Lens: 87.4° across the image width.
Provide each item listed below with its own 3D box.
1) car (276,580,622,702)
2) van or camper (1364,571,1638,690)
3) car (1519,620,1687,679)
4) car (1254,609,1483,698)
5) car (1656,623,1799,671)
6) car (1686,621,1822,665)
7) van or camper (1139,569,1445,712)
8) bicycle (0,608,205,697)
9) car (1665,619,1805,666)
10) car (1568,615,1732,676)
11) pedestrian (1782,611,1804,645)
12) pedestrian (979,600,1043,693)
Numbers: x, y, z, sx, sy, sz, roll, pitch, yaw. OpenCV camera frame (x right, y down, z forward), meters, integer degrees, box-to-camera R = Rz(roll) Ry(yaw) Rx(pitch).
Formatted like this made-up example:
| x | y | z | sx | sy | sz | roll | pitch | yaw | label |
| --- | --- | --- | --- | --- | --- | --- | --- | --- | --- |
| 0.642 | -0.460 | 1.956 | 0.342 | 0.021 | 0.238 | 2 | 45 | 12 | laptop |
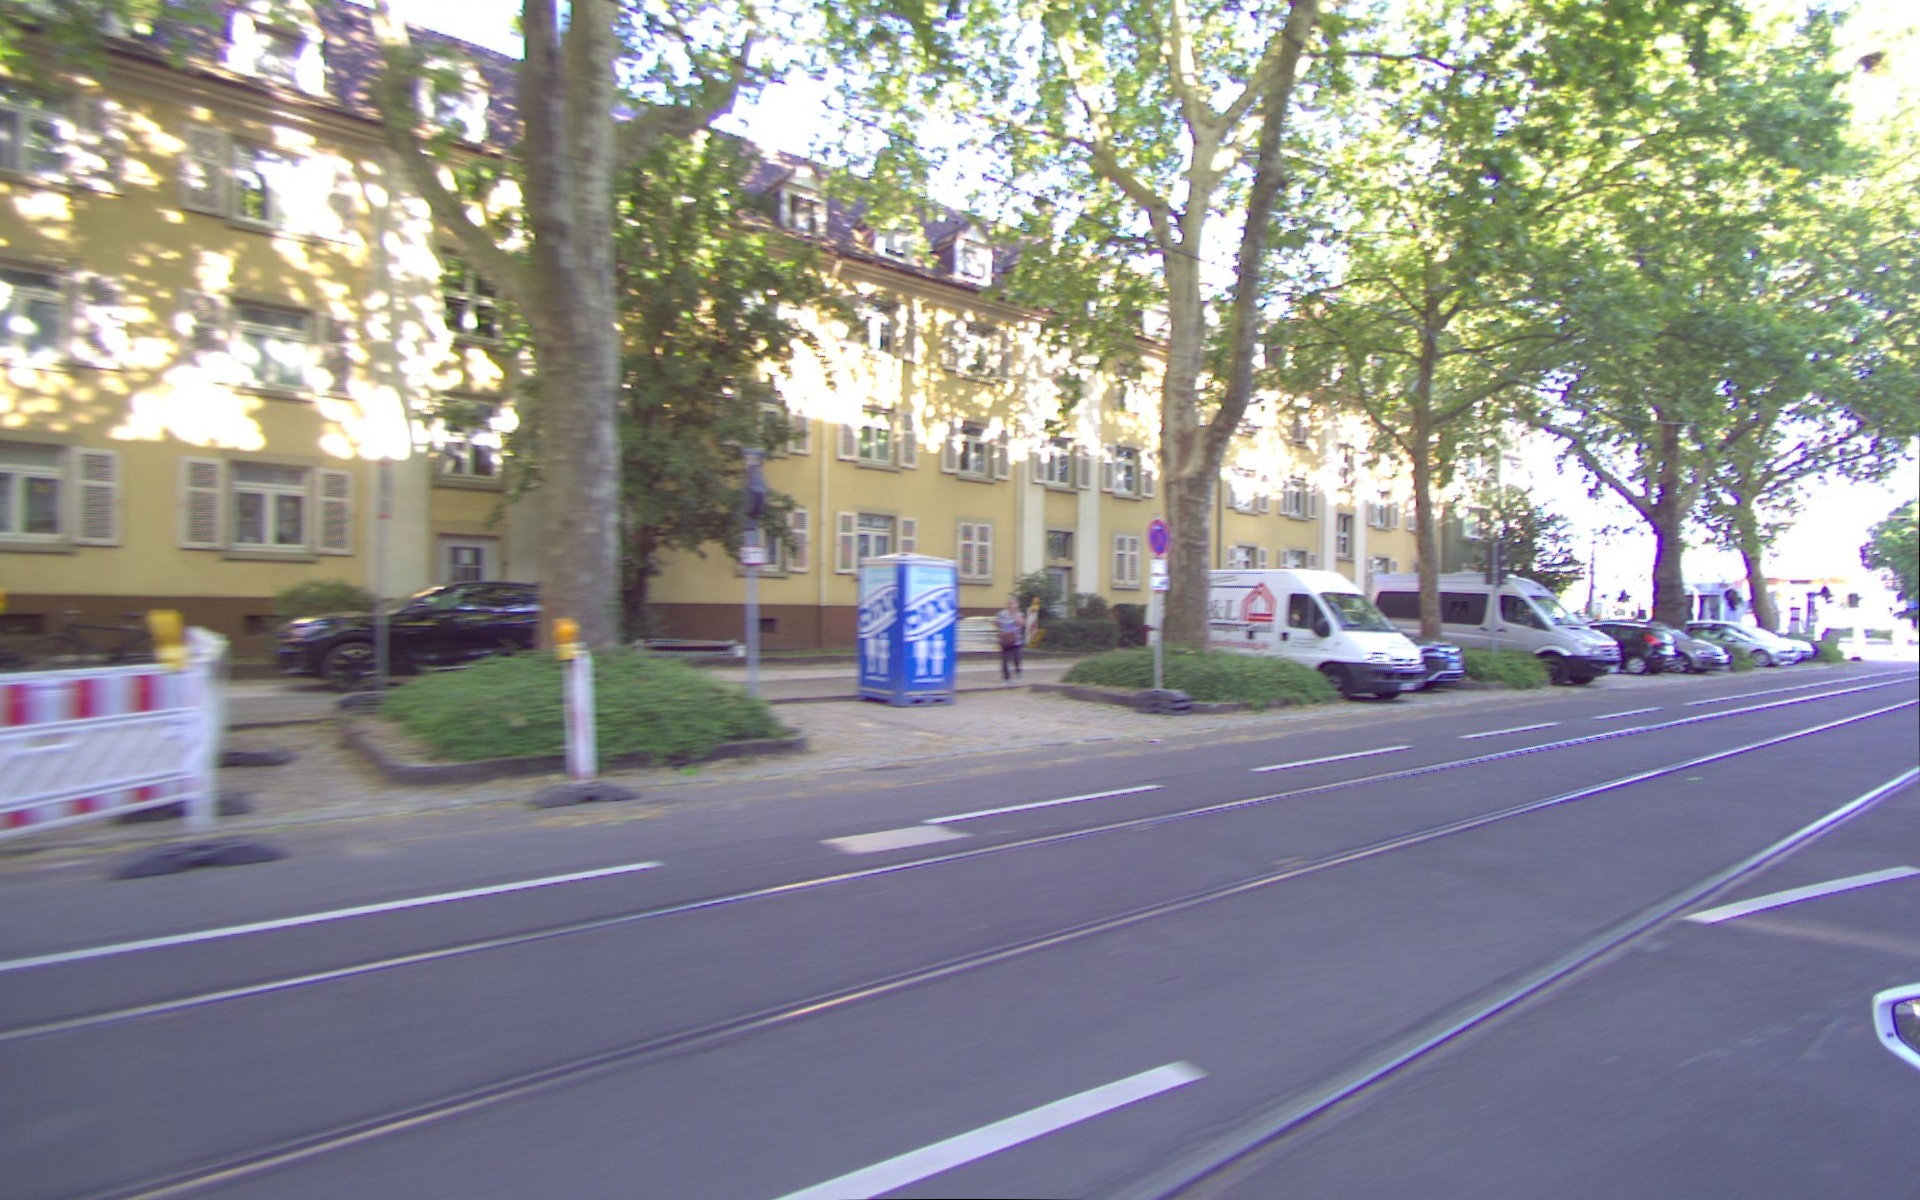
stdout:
| x | y | z | sx | sy | sz | roll | pitch | yaw | label |
| --- | --- | --- | --- | --- | --- | --- | --- | --- | --- |
| -7.664 | 0.562 | 15.267 | 4.474 | 1.592 | 1.778 | 1 | 1 | -35 | car |
| 13.535 | 0.656 | 25.509 | 2.249 | 2.679 | 5.679 | 1 | 0 | -38 | van or camper |
| 19.417 | 1.450 | 30.467 | 1.635 | 1.535 | 3.957 | 1 | 0 | -37 | car |
| 8.655 | 1.063 | 21.517 | 1.950 | 1.693 | 4.131 | 1 | -1 | -41 | car |
| 28.568 | 1.704 | 37.495 | 1.635 | 1.535 | 3.957 | 1 | 0 | -37 | car |
| 32.588 | 1.721 | 41.312 | 1.950 | 1.693 | 4.131 | 1 | -1 | -41 | car |
| 6.318 | 0.674 | 19.834 | 2.247 | 2.411 | 5.465 | 1 | 0 | -35 | van or camper |
| -11.744 | 0.700 | 13.858 | 2.092 | 1.156 | 0.621 | 1 | -1 | -36 | bicycle |
| 30.638 | 1.645 | 39.791 | 1.950 | 1.693 | 4.131 | 1 | -1 | -41 | car |
| 21.736 | 1.393 | 31.755 | 1.635 | 1.673 | 3.957 | 1 | 0 | -37 | car |
| 57.163 | 1.913 | 68.961 | 0.805 | 2.250 | 0.900 | 2 | 0 | 17 | pedestrian |
| 0.934 | 0.829 | 18.397 | 0.878 | 1.634 | 0.757 | 1 | 1 | -31 | pedestrian |
